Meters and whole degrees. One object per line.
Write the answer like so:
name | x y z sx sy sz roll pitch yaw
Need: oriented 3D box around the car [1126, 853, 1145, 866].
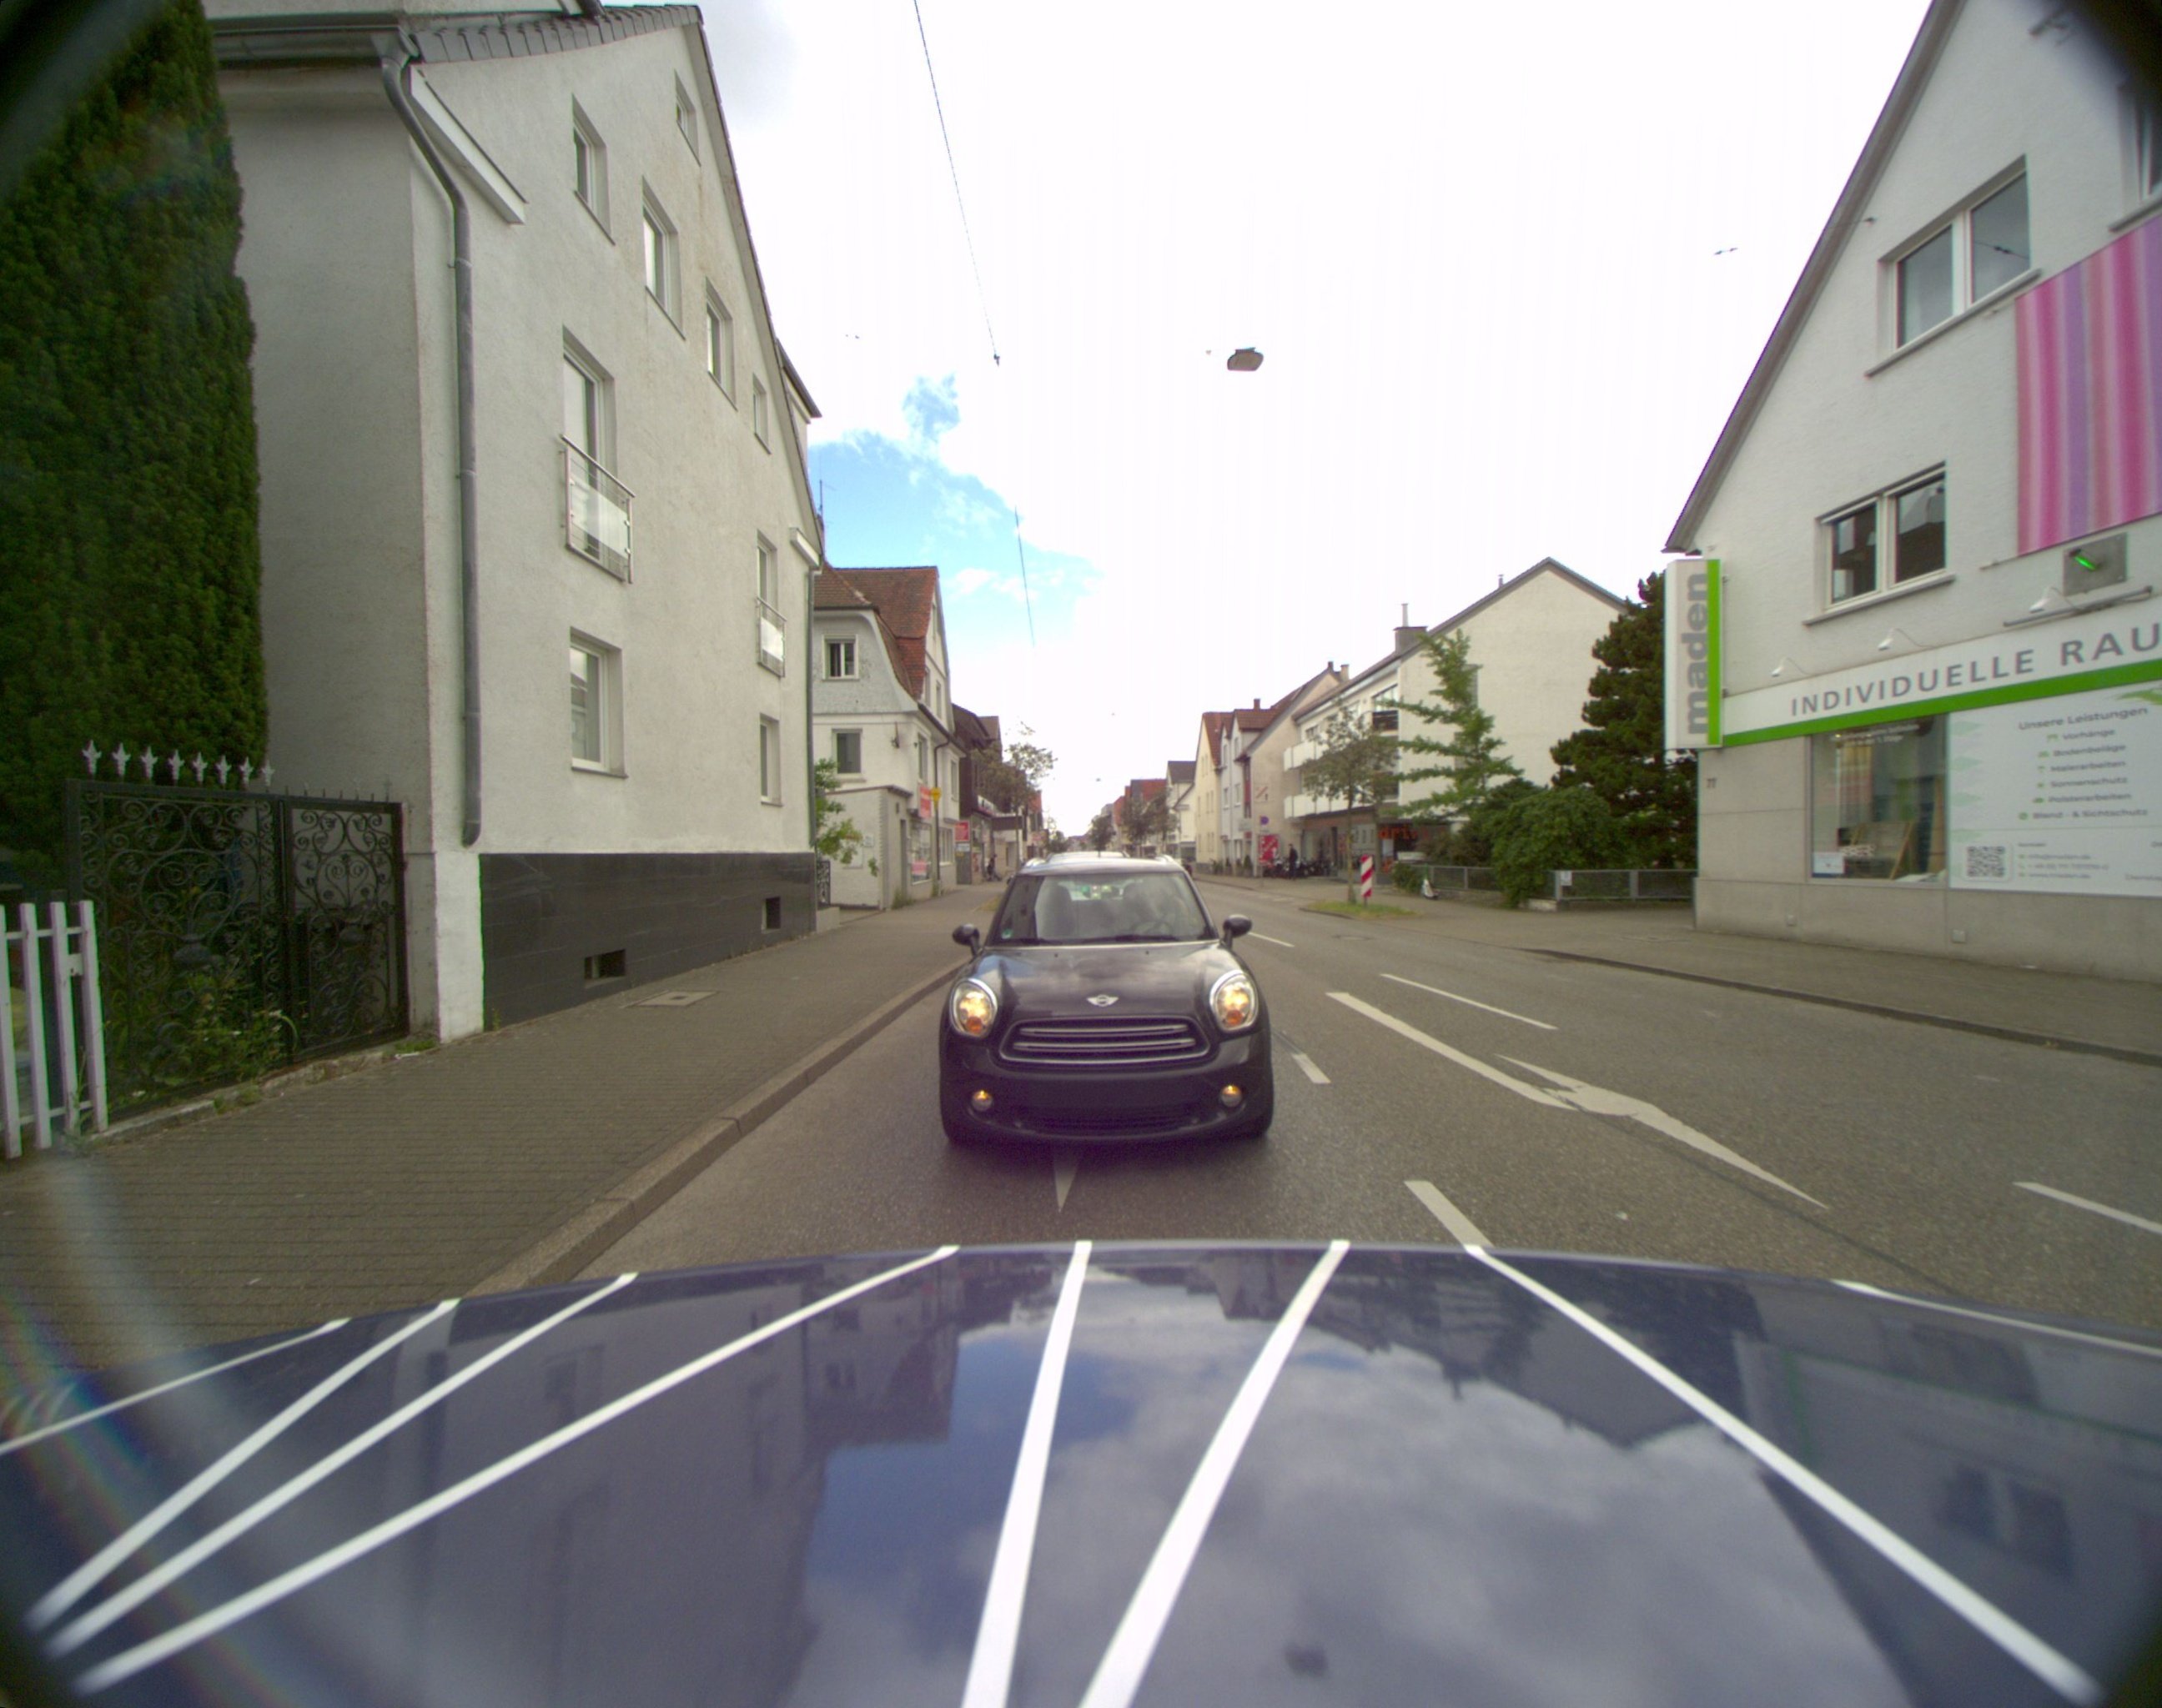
car | 6.138 0.592 86.495 1.716 1.389 3.899 -2 0 -2

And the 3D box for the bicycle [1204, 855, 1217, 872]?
bicycle | 9.416 0.697 55.456 0.515 1.189 2.023 -2 1 -1

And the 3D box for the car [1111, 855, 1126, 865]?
car | 5.267 0.808 107.776 1.716 1.389 3.899 -2 0 -2

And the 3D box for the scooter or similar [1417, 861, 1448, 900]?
scooter or similar | 10.365 0.767 22.416 0.340 1.105 1.180 -2 1 0

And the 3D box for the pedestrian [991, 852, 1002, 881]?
pedestrian | -5.099 0.727 45.998 0.644 1.730 0.742 0 1 -6

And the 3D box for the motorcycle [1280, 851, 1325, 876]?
motorcycle | 12.143 0.513 41.647 2.231 1.258 0.613 -4 1 -2

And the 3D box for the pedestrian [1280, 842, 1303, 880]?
pedestrian | 10.531 0.332 38.062 0.753 1.838 1.019 -5 1 0

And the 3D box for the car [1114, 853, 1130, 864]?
car | 5.474 0.582 102.130 1.716 1.389 3.899 -2 0 -2

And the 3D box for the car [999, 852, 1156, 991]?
car | -0.022 0.816 11.570 1.855 1.615 4.736 -2 0 0

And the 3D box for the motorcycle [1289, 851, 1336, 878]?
motorcycle | 12.157 0.536 39.964 2.231 1.258 0.613 -4 1 -2

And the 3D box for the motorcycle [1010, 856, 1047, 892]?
motorcycle | -2.253 0.835 32.909 0.648 1.432 2.472 -2 1 19

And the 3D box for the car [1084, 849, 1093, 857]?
car | 1.861 -0.319 190.865 1.855 1.932 4.489 1 0 -2

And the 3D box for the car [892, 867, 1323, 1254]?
car | 0.043 0.942 5.707 1.855 1.527 4.735 -2 0 -2

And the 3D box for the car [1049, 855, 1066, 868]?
car | -2.616 0.855 85.500 1.794 1.356 3.948 1 0 0

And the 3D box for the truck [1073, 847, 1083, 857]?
truck | -0.891 -0.594 219.262 2.800 3.020 8.250 -2 0 0

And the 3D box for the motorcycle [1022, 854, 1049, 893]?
motorcycle | -1.874 0.786 31.815 0.672 1.516 2.599 -2 1 6

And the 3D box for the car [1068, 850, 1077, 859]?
car | -1.969 0.011 177.055 2.059 2.002 4.186 -2 0 -1

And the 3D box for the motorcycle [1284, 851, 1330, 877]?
motorcycle | 12.162 0.518 40.845 2.231 1.258 0.613 -4 1 -2

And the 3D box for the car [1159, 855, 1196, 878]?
car | 6.421 0.813 50.960 1.792 1.409 4.340 0 0 -1

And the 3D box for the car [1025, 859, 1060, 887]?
car | -2.159 1.050 43.311 1.830 1.400 4.564 -2 0 -1

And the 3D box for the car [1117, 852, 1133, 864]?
car | 5.623 0.498 97.141 1.716 1.389 3.899 -2 0 -2

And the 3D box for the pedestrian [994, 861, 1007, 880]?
pedestrian | -4.948 1.009 46.808 0.742 1.204 0.644 0 1 -1

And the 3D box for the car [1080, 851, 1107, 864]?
car | 1.848 0.512 113.046 3.997 1.772 2.000 -2 1 -1

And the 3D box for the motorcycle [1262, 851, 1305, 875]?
motorcycle | 11.705 0.513 43.976 2.231 1.258 0.613 -4 1 -2

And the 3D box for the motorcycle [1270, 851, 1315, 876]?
motorcycle | 11.806 0.534 42.421 2.231 1.258 0.699 -4 1 -2

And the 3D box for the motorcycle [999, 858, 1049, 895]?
motorcycle | -2.230 0.860 29.366 0.777 1.373 2.237 -2 1 -37

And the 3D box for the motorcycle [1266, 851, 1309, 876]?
motorcycle | 11.734 0.516 43.237 2.231 1.258 0.613 -4 1 -2
